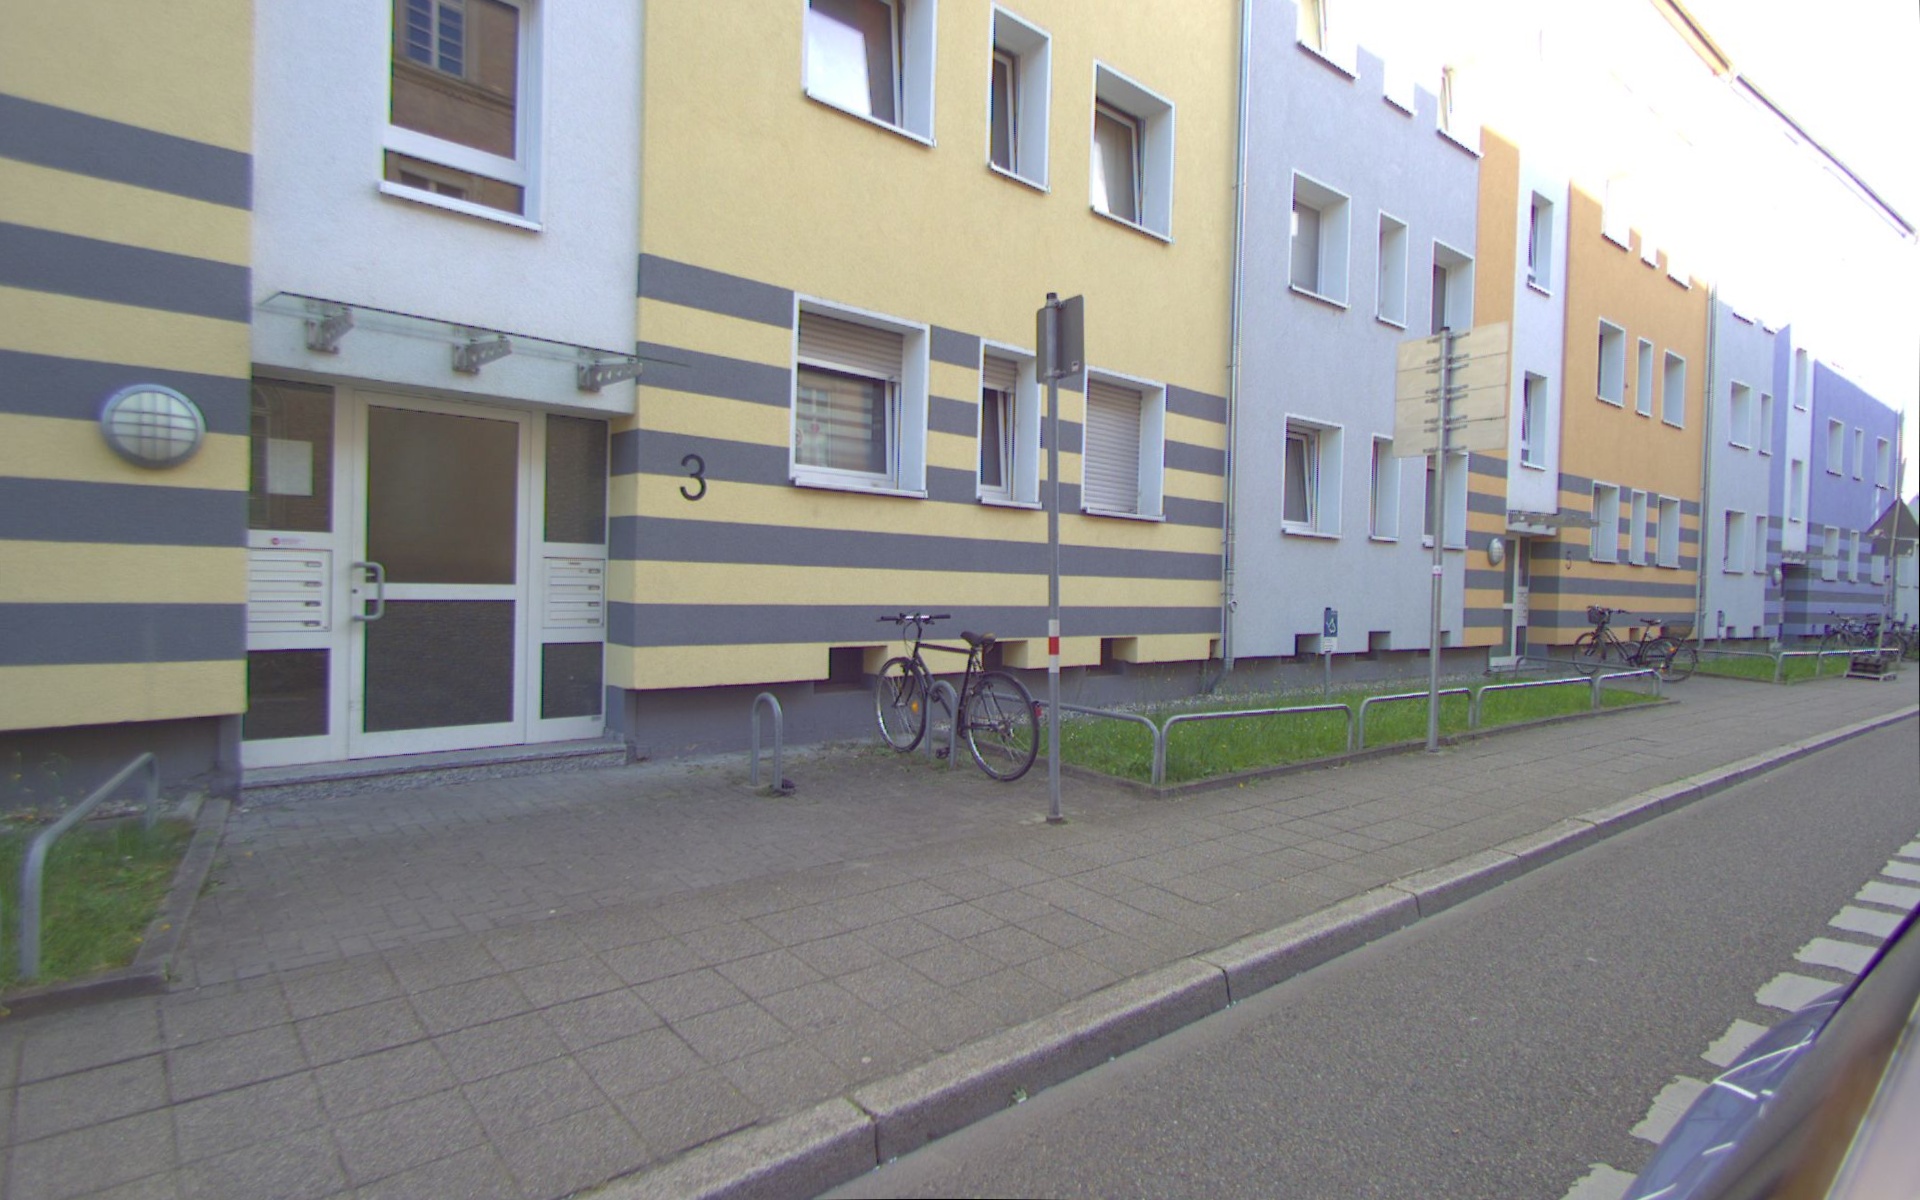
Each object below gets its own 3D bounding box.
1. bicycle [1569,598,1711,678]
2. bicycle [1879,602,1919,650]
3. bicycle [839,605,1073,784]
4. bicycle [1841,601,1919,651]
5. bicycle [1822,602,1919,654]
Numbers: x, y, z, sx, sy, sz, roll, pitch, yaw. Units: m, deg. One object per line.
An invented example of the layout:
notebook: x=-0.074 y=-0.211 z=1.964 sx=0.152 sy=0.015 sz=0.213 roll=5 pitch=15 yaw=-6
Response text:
bicycle: x=10.684 y=0.561 z=15.941 sx=1.775 sy=1.137 sz=0.476 roll=3 pitch=1 yaw=44
bicycle: x=24.131 y=0.656 z=25.273 sx=0.475 sy=1.166 sz=1.678 roll=1 pitch=1 yaw=-37
bicycle: x=-0.078 y=0.586 z=7.012 sx=1.775 sy=1.031 sz=0.476 roll=3 pitch=1 yaw=44
bicycle: x=23.303 y=0.644 z=25.416 sx=0.475 sy=1.166 sz=1.678 roll=1 pitch=1 yaw=-37
bicycle: x=22.222 y=0.661 z=24.724 sx=0.475 sy=1.166 sz=1.678 roll=1 pitch=1 yaw=-37
